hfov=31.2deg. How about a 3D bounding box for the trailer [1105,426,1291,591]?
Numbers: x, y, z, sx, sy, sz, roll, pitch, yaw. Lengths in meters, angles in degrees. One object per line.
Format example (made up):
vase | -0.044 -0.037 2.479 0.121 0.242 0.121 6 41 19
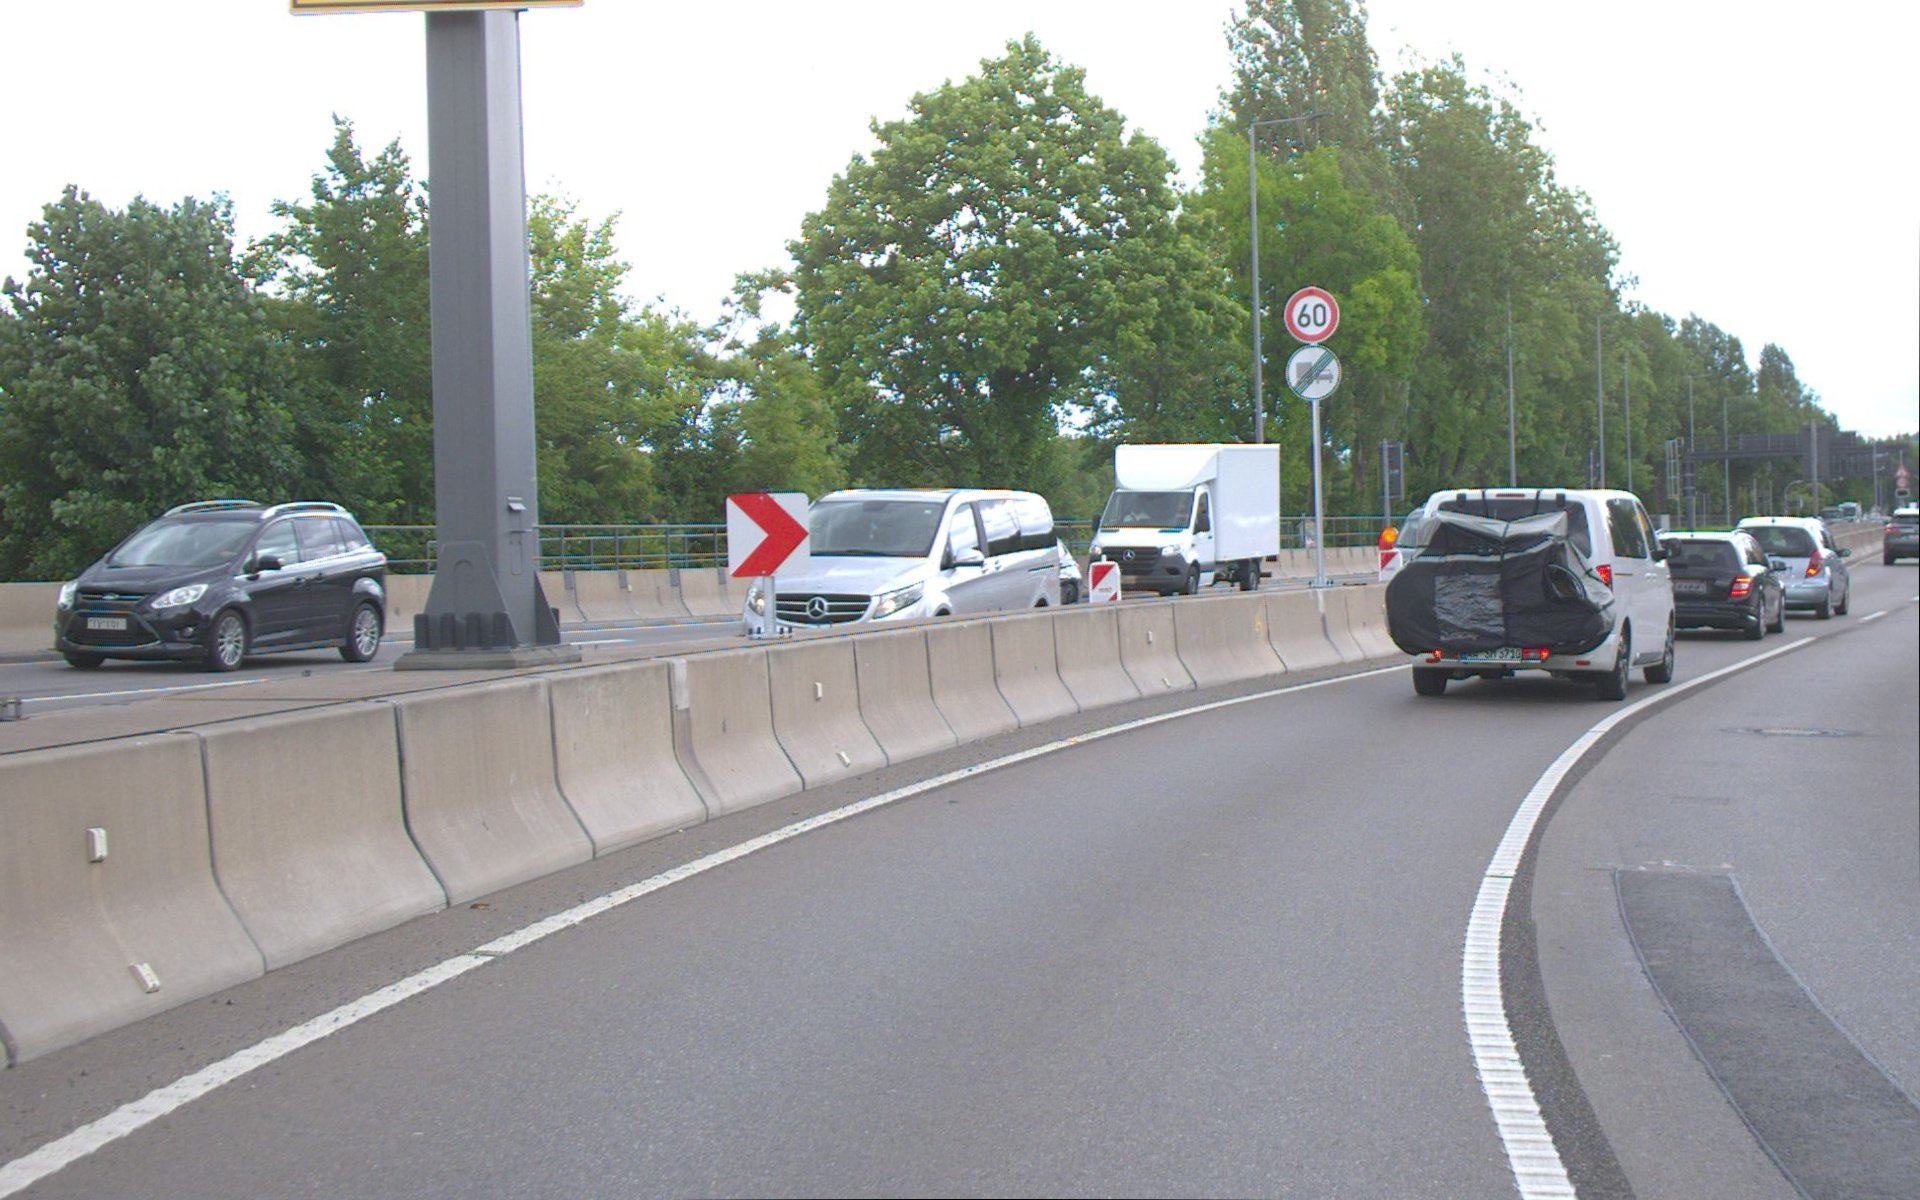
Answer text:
trailer | 4.804 -1.802 68.482 2.274 3.127 5.706 1 1 19

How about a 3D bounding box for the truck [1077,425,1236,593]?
truck | 3.766 -1.720 65.402 2.274 3.103 2.985 1 1 19

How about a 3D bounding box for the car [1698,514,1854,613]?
car | 12.872 -0.604 54.049 1.922 1.483 4.061 0 1 20

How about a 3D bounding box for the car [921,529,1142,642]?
car | 1.026 -0.217 46.402 1.864 1.448 4.568 0 1 16

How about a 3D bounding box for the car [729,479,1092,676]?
car | -0.371 -0.266 34.711 1.953 1.800 5.788 1 1 17

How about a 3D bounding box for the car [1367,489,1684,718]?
car | 5.274 -0.062 31.413 1.995 1.852 5.636 2 2 18

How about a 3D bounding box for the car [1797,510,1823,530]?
car | 59.658 -5.599 241.335 1.734 1.369 3.614 0 1 14

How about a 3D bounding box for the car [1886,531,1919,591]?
car | 27.716 -1.116 98.718 1.995 1.667 3.997 1 1 17

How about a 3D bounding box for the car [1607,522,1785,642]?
car | 9.752 -0.261 45.350 1.816 1.429 4.062 -1 1 18

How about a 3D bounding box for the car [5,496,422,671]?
car | -7.586 -0.205 35.462 1.995 1.666 4.724 1 1 20
